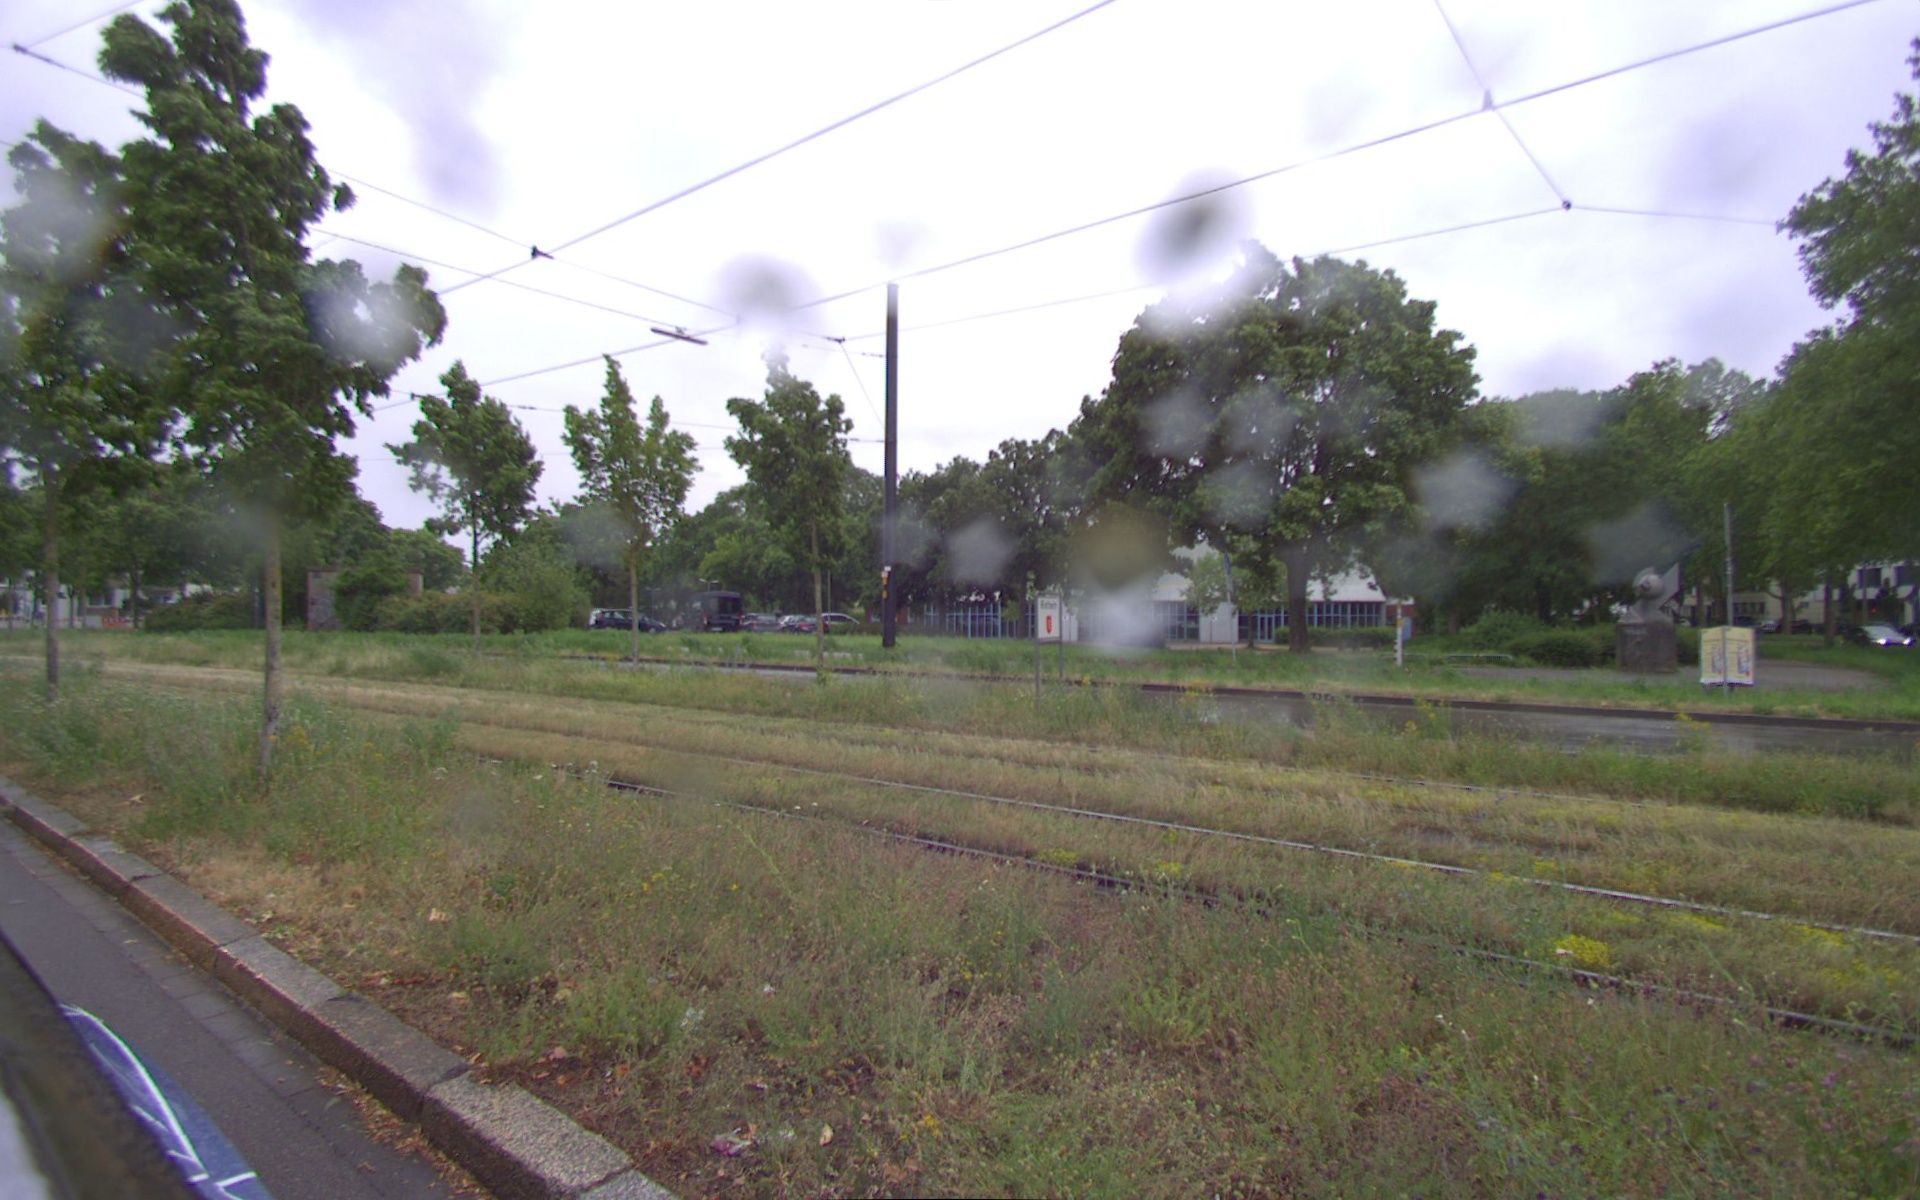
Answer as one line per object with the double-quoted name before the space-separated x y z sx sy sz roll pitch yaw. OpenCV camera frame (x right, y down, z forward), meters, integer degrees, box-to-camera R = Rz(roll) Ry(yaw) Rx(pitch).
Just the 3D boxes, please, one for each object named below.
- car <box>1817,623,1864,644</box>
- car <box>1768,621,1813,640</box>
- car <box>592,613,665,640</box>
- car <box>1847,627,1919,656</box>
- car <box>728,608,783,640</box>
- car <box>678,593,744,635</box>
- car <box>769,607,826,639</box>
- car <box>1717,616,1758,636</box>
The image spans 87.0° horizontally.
"car" 81.558 3.099 93.798 1.986 1.796 3.972 -1 0 21
"car" 82.977 3.019 101.158 1.982 1.796 3.979 -1 0 16
"car" -20.293 1.595 61.904 4.110 1.494 1.789 -1 0 -23
"car" 47.960 2.150 52.270 1.792 1.412 4.282 -2 -3 22
"car" -10.914 1.231 53.710 1.726 1.542 4.865 -1 0 -25
"car" -12.832 0.701 51.937 2.273 2.029 5.134 -1 0 -25
"car" -8.778 1.177 54.397 2.026 1.584 5.032 -1 0 -21
"car" 86.314 2.827 112.409 2.108 2.104 3.982 -1 0 14
